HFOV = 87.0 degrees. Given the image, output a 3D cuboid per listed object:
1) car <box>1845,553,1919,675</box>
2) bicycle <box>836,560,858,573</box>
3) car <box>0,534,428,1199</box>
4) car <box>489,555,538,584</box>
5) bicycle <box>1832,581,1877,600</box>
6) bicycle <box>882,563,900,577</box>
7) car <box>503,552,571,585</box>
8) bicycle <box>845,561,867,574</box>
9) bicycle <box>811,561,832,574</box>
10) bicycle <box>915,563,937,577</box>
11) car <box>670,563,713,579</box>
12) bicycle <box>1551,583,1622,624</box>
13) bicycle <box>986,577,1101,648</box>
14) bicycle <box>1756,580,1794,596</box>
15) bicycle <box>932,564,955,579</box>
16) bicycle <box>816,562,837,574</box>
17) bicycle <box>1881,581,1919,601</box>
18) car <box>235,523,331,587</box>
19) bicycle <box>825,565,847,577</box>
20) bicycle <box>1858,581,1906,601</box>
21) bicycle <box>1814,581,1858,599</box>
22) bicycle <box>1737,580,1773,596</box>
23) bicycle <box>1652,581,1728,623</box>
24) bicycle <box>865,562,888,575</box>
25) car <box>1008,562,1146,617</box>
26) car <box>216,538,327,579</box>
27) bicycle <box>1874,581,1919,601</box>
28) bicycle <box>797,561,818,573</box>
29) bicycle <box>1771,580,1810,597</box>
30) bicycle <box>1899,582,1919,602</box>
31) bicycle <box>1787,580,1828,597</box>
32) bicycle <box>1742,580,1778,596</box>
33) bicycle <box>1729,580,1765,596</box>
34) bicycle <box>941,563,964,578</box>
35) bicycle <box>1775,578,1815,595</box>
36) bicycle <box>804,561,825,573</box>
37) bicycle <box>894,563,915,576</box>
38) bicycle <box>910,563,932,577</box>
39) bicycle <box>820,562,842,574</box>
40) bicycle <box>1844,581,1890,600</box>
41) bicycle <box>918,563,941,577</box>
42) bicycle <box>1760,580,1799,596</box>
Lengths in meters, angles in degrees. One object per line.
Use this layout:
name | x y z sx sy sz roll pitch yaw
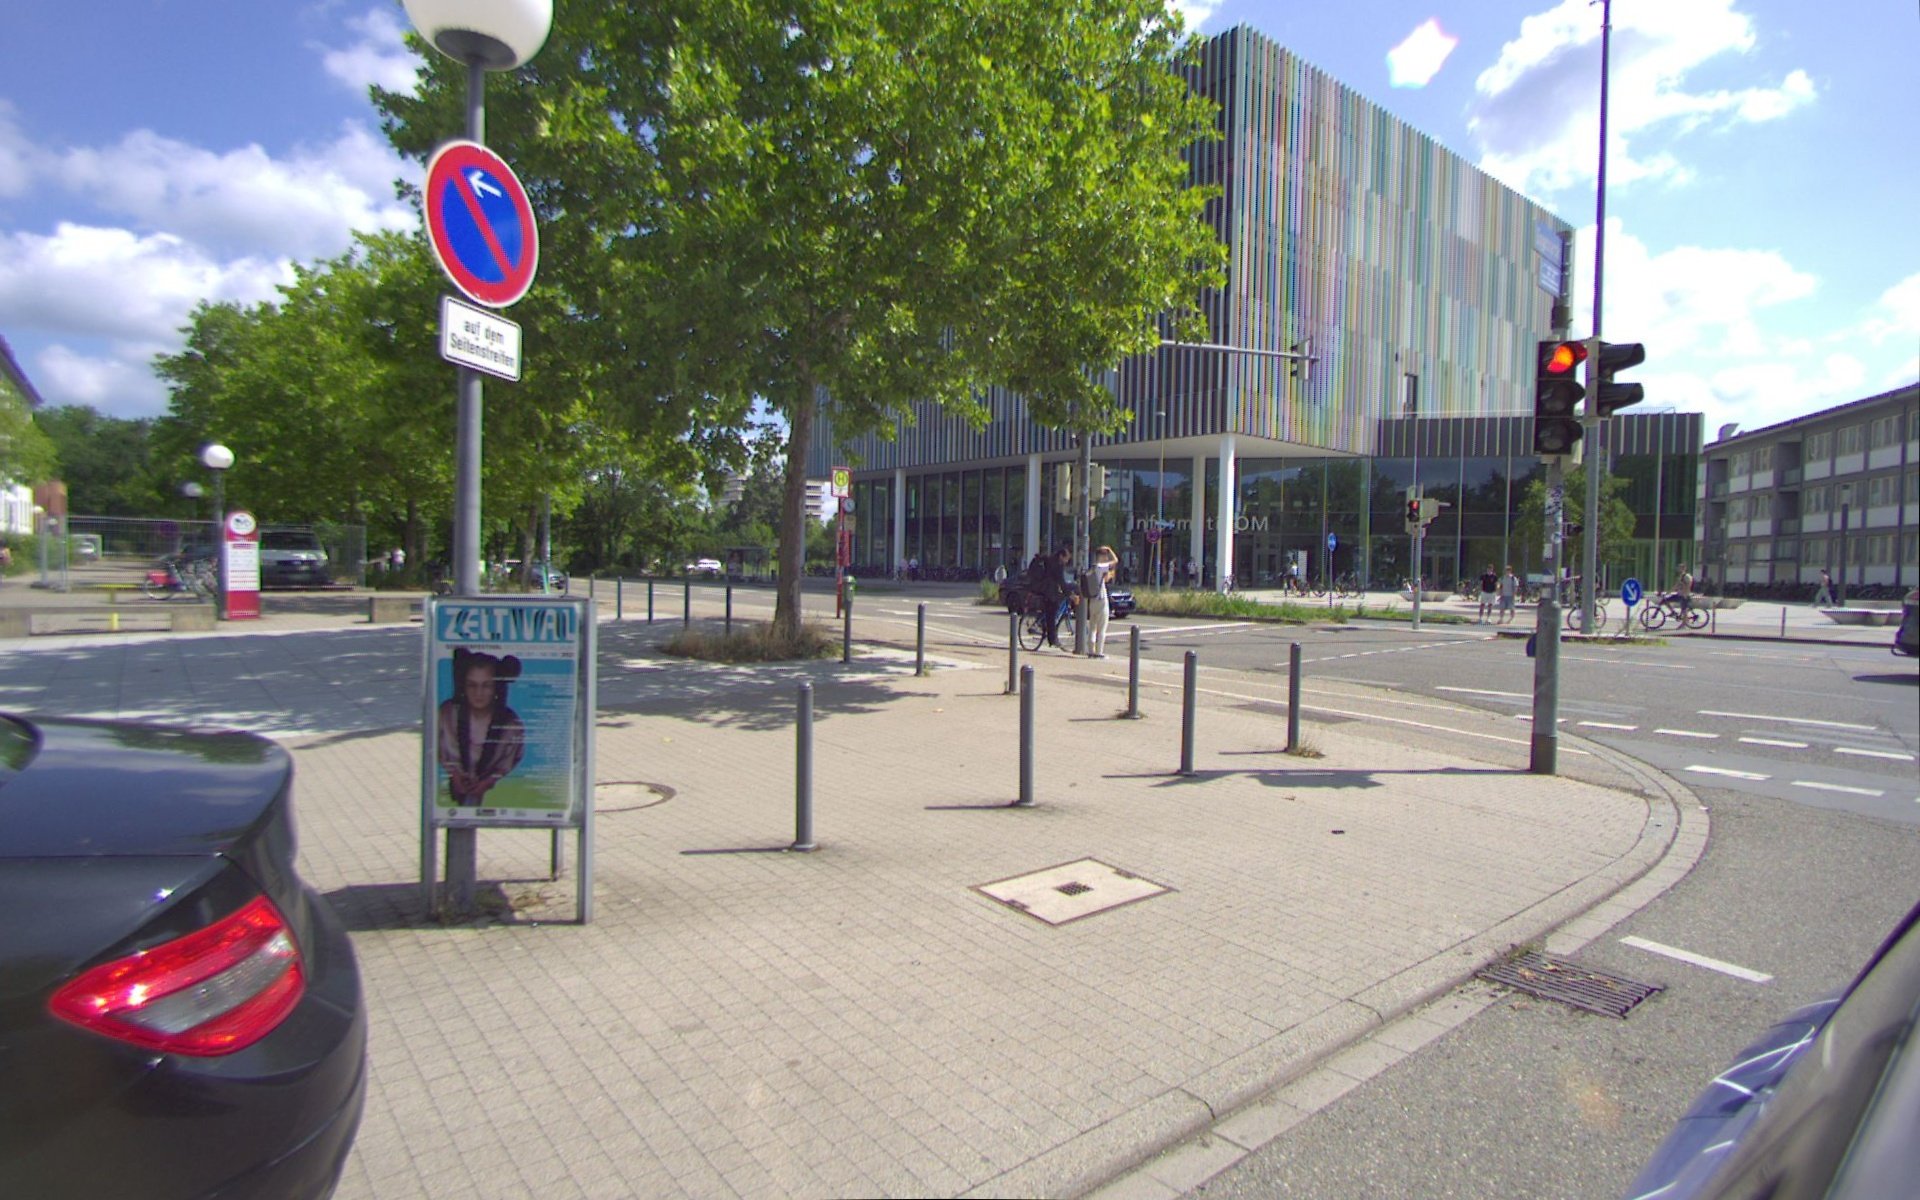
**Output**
car | 14.876 0.229 13.367 1.791 1.699 4.479 -1 3 -35
bicycle | -8.836 -2.621 79.188 1.754 0.967 0.432 -3 3 -40
car | -3.281 0.614 0.757 4.861 1.417 1.723 -1 4 -40
car | -24.532 -1.661 55.555 1.709 1.469 4.945 2 0 -32
bicycle | 49.726 -0.534 56.270 1.753 0.966 0.525 2 3 23
bicycle | -4.951 -2.180 72.862 0.372 0.967 1.525 2 3 39
car | -21.167 -1.550 50.549 1.829 1.497 4.937 2 0 -39
bicycle | -8.077 -2.497 78.481 1.754 0.967 0.432 -3 3 -40
bicycle | -11.274 -2.653 82.272 1.754 0.967 0.432 -3 3 -40
bicycle | -2.409 -2.099 70.996 1.514 0.967 0.374 -2 3 -25
car | -27.432 -3.020 103.451 3.756 1.529 1.901 -2 4 -34
bicycle | 18.411 0.096 29.793 1.652 1.138 0.690 1 2 23
bicycle | 1.458 0.226 17.445 1.856 1.086 0.818 4 0 -38
bicycle | 51.688 -0.755 64.176 1.753 0.966 0.525 2 3 23
bicycle | -1.122 -1.963 68.837 1.514 0.967 0.374 -2 3 -25
bicycle | -10.759 -2.578 81.610 1.754 0.967 0.432 -3 3 -40
bicycle | 48.406 -0.454 51.767 1.753 0.966 0.525 2 3 23
car | -21.630 -1.444 32.244 1.871 1.887 4.933 -1 3 -42
bicycle | -9.842 -2.297 80.288 1.754 0.967 0.432 -3 3 -40
bicycle | 49.130 -0.480 53.925 1.753 0.966 0.525 2 3 23
bicycle | 49.771 -0.577 57.506 1.753 0.966 0.525 2 3 23
bicycle | 52.295 -0.797 66.593 1.753 0.966 0.525 2 3 23
bicycle | 20.844 0.041 28.931 1.654 1.138 0.689 1 2 26
bicycle | -6.327 -2.404 76.748 1.754 0.967 0.432 -3 3 -40
car | 3.303 -0.360 29.262 1.794 1.433 4.196 -1 2 -31
car | -31.254 -1.918 45.985 3.933 1.804 1.997 -3 4 -42
bicycle | 48.806 -0.456 52.663 1.753 0.966 0.525 2 3 23
bicycle | -12.585 -2.716 83.778 1.754 0.967 0.432 -3 3 -40
bicycle | 50.961 -0.697 62.124 1.753 0.966 0.525 2 3 23
bicycle | 48.104 -0.381 50.486 1.755 0.966 0.525 2 4 25
bicycle | 50.280 -0.699 60.045 1.753 0.966 0.525 2 3 23
bicycle | 52.124 -0.788 65.952 1.753 0.966 0.525 2 3 23
bicycle | 52.698 -0.823 67.781 1.753 0.966 0.525 2 3 23
bicycle | -0.491 -1.993 68.424 1.514 0.967 0.374 -2 3 -25
bicycle | 50.579 -0.810 61.316 1.753 0.966 0.525 2 3 23
bicycle | -11.935 -2.688 82.949 1.754 0.967 0.432 -3 3 -40
bicycle | -3.986 -2.193 72.773 1.514 0.967 0.374 -2 3 -25
bicycle | -2.739 -2.105 71.519 1.514 0.967 0.374 -2 3 -25
bicycle | -10.353 -2.552 81.130 1.754 0.967 0.432 -3 3 -40
bicycle | 49.468 -0.512 55.202 1.753 0.966 0.525 2 3 23
bicycle | -2.123 -2.076 70.516 1.514 0.967 0.374 -2 3 -25
bicycle | 51.462 -0.758 63.561 1.753 0.966 0.525 2 3 23
